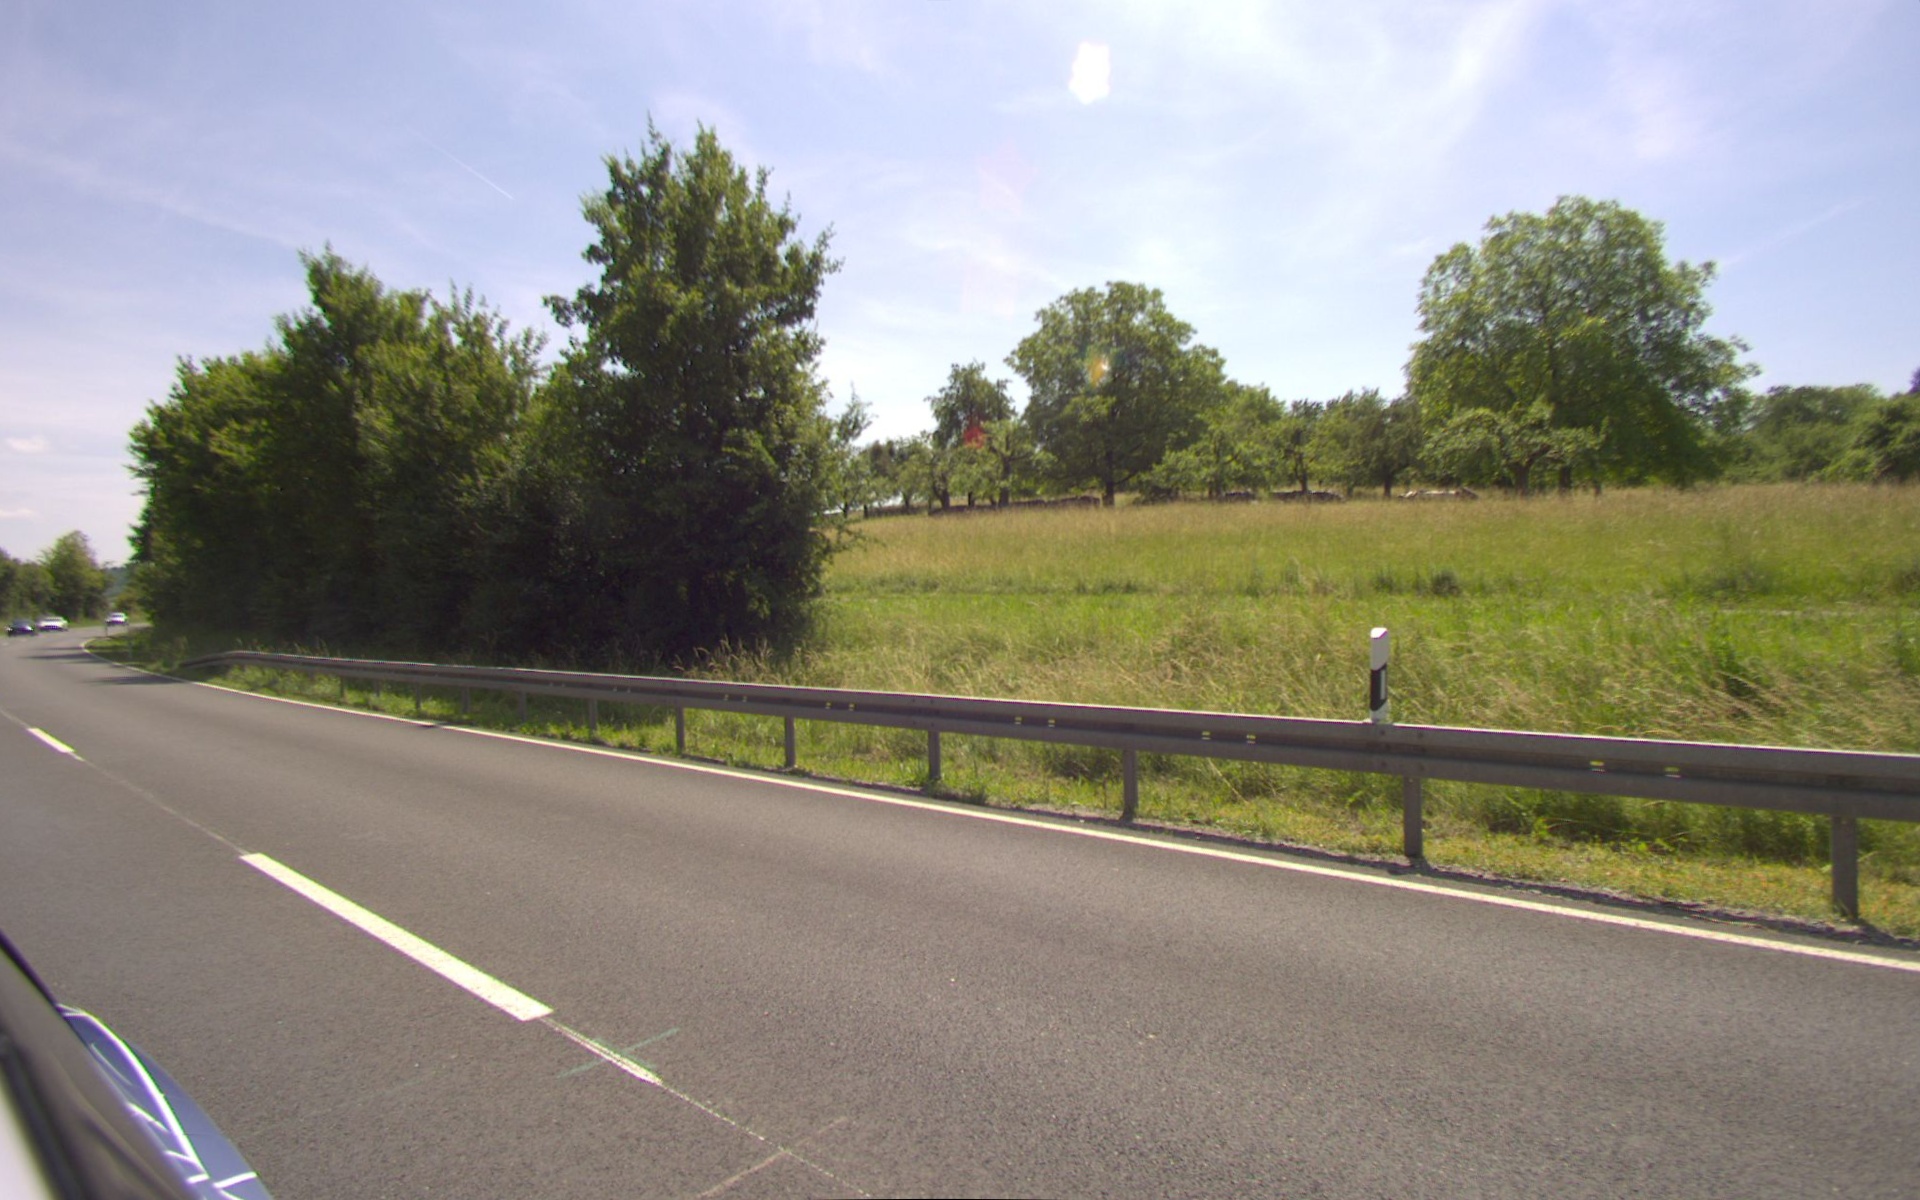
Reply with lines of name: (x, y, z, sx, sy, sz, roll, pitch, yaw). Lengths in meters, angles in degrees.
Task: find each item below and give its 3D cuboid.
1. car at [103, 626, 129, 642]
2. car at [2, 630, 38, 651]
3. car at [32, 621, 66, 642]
car: (-111.283, 4.510, 133.412, 1.966, 2.029, 4.012, -1, -1, -30)
car: (-80.863, 3.467, 87.093, 1.854, 1.721, 4.009, 0, -3, -37)
car: (-94.346, 3.269, 104.886, 1.966, 2.029, 4.011, 0, -2, -32)
